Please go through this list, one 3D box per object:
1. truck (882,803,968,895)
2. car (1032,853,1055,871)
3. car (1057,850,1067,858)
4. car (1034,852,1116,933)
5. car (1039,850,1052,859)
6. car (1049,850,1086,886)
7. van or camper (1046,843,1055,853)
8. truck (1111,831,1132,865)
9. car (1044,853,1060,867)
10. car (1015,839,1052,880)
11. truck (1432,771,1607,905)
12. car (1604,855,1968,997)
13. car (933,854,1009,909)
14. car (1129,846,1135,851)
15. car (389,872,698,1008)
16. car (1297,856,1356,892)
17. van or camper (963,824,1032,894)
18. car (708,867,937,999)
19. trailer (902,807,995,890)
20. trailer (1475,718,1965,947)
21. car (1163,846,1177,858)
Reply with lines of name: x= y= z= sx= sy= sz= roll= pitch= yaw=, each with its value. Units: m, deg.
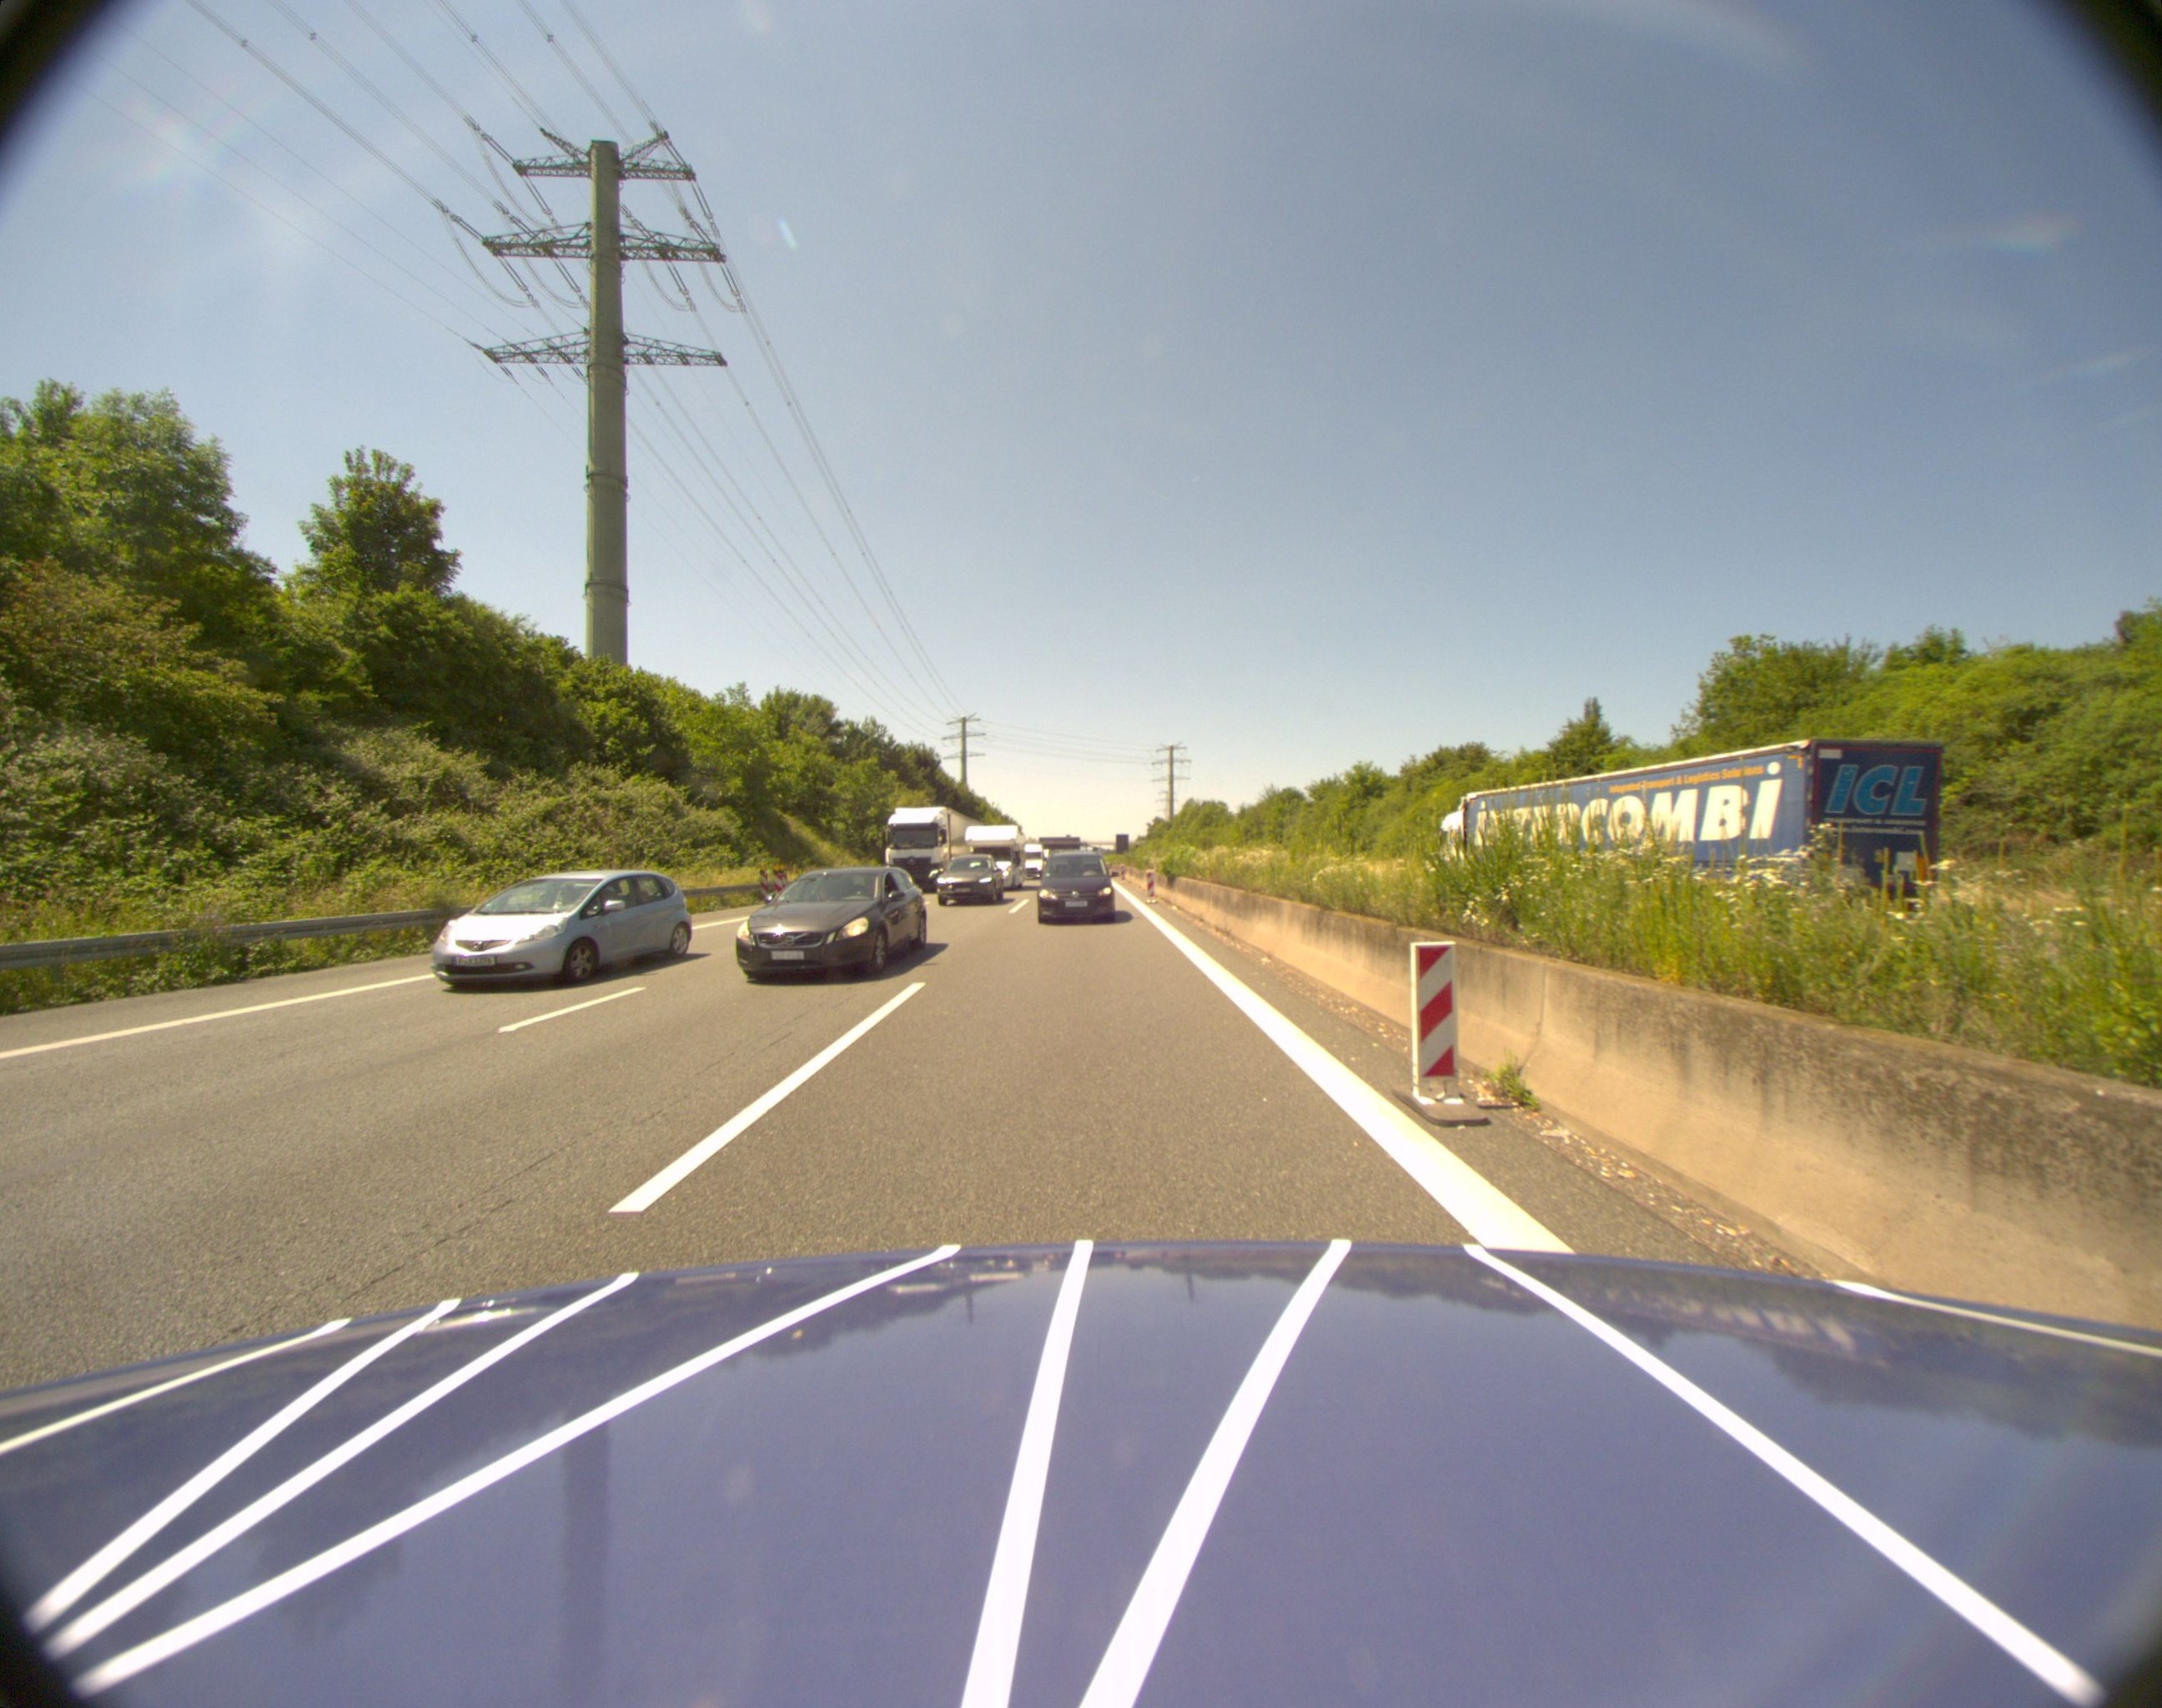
truck: x=-7.409 y=-0.274 z=36.933 sx=2.740 sy=4.024 sz=5.793 roll=-2 pitch=1 yaw=1
car: x=-3.341 y=0.689 z=68.843 sx=1.720 sy=1.510 sz=3.874 roll=-2 pitch=1 yaw=1
car: x=-3.605 y=-0.025 z=143.479 sx=1.720 sy=1.510 sz=3.874 roll=-2 pitch=1 yaw=1
car: x=-0.098 y=0.821 z=18.463 sx=1.700 sy=1.641 sz=4.219 roll=-2 pitch=1 yaw=1
car: x=-5.727 y=0.016 z=123.327 sx=1.720 sy=1.392 sz=3.874 roll=-2 pitch=1 yaw=1
car: x=-0.656 y=0.686 z=39.346 sx=1.700 sy=1.641 sz=4.219 roll=-2 pitch=1 yaw=1
van or camper: x=-7.346 y=-1.465 z=183.557 sx=1.978 sy=2.511 sz=4.369 roll=-2 pitch=1 yaw=1
truck: x=4.075 y=-0.596 z=76.859 sx=1.892 sy=3.264 sz=5.590 roll=-2 pitch=1 yaw=1
car: x=-3.471 y=0.749 z=91.586 sx=1.720 sy=1.510 sz=3.874 roll=-2 pitch=1 yaw=1
car: x=-3.359 y=0.336 z=54.934 sx=2.042 sy=2.703 sz=6.705 roll=-2 pitch=1 yaw=1
truck: x=15.982 y=-0.558 z=28.303 sx=2.952 sy=4.367 sz=6.074 roll=-2 pitch=1 yaw=1
car: x=8.539 y=0.757 z=9.643 sx=1.514 sy=1.456 sz=3.362 roll=0 pitch=0 yaw=1
car: x=-3.665 y=0.873 z=26.046 sx=1.893 sy=1.602 sz=4.219 roll=-2 pitch=1 yaw=1
car: x=15.307 y=-1.625 z=227.423 sx=1.514 sy=1.456 sz=3.362 roll=0 pitch=0 yaw=1
car: x=-7.446 y=1.087 z=11.063 sx=1.705 sy=1.440 sz=3.787 roll=-2 pitch=1 yaw=1
car: x=10.687 y=0.835 z=33.265 sx=1.514 sy=1.456 sz=3.362 roll=0 pitch=0 yaw=1
van or camper: x=-4.003 y=0.183 z=37.793 sx=2.375 sy=3.026 sz=7.631 roll=-2 pitch=1 yaw=1
car: x=-3.561 y=0.993 z=11.464 sx=1.799 sy=1.411 sz=4.509 roll=-2 pitch=1 yaw=1
trailer: x=-7.315 y=-0.358 z=44.199 sx=2.790 sy=4.024 sz=13.110 roll=-2 pitch=1 yaw=1
trailer: x=15.893 y=-0.493 z=21.342 sx=2.967 sy=4.378 sz=12.904 roll=-2 pitch=1 yaw=1
car: x=11.531 y=-0.296 z=98.302 sx=1.514 sy=1.456 sz=3.362 roll=0 pitch=0 yaw=1
